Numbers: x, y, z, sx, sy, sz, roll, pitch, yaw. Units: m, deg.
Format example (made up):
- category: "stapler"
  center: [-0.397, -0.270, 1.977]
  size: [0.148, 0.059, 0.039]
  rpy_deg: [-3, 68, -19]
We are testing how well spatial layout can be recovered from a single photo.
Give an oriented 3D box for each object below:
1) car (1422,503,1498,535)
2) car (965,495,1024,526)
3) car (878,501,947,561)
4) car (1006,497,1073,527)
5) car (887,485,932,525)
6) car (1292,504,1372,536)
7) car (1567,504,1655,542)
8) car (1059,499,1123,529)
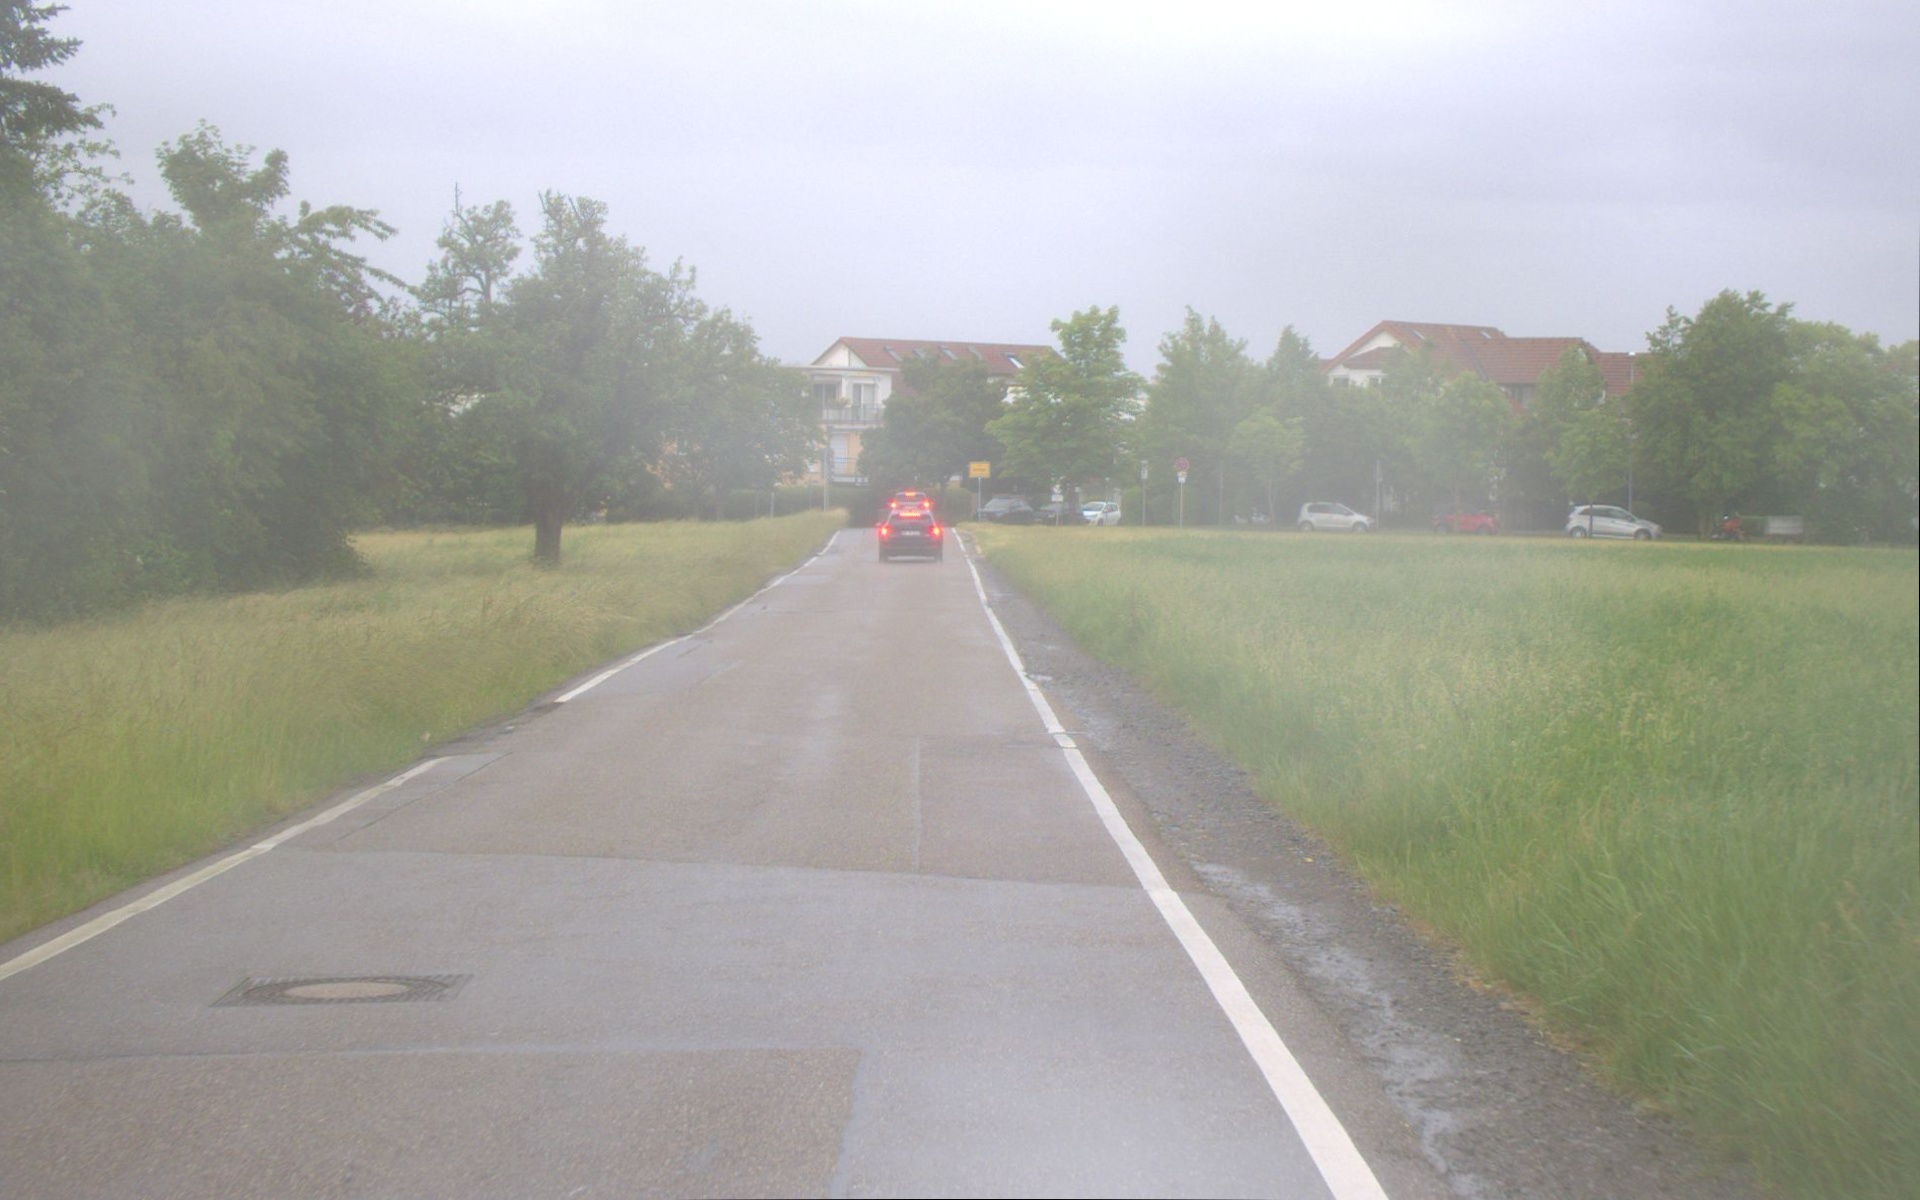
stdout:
- category: "car"
  center: [22.138, -3.595, 152.273]
  size: [3.194, 1.366, 1.571]
  rpy_deg: [1, 0, 13]
- category: "car"
  center: [1.830, -4.734, 182.619]
  size: [1.663, 1.541, 3.995]
  rpy_deg: [1, 0, 24]
- category: "car"
  center: [-1.309, -1.897, 95.666]
  size: [1.814, 1.588, 4.000]
  rpy_deg: [1, 0, 1]
- category: "car"
  center: [4.346, -4.789, 187.408]
  size: [1.664, 1.541, 3.992]
  rpy_deg: [1, 0, 35]
- category: "car"
  center: [-2.160, -4.050, 147.066]
  size: [1.814, 1.588, 4.000]
  rpy_deg: [1, 0, 1]
- category: "car"
  center: [16.622, -3.563, 153.699]
  size: [3.392, 1.366, 1.547]
  rpy_deg: [1, 0, 13]
- category: "car"
  center: [28.511, -3.372, 150.581]
  size: [3.711, 1.558, 1.609]
  rpy_deg: [1, 0, 13]
- category: "car"
  center: [7.305, -4.798, 191.703]
  size: [1.664, 1.541, 3.992]
  rpy_deg: [1, 0, 35]
